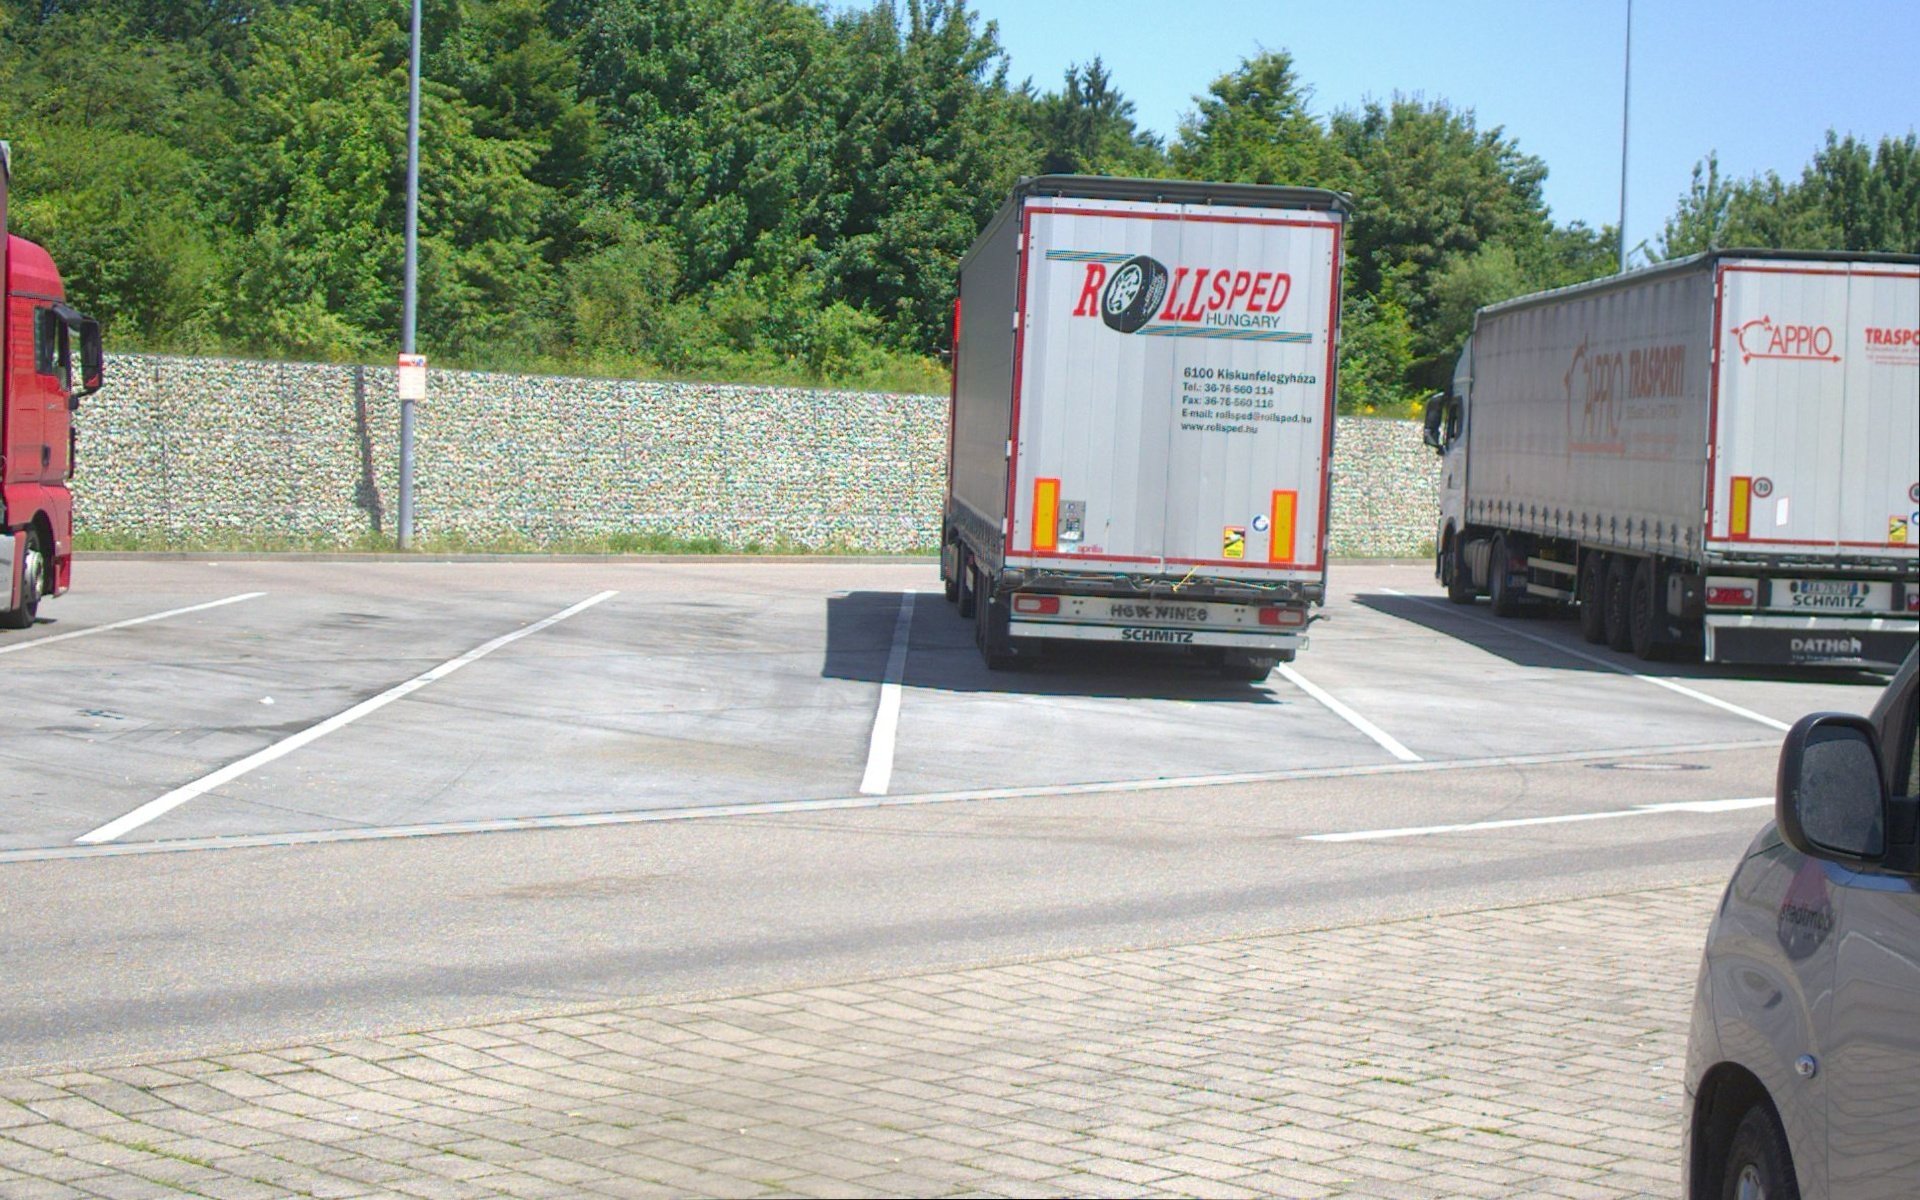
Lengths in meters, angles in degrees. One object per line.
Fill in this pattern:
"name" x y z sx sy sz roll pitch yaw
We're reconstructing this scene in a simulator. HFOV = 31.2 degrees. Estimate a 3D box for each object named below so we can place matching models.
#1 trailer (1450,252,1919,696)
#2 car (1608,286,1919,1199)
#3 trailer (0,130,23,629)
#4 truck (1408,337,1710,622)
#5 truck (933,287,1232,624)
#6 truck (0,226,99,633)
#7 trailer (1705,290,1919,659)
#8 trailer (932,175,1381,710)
"trailer" 8.114 -1.518 38.714 2.811 3.976 14.396 2 3 -1
"car" 2.147 0.590 3.833 1.869 1.857 4.177 2 2 -2
"trailer" -9.195 -1.487 21.552 2.791 4.071 14.133 2 3 -1
"truck" 8.022 -1.694 46.814 2.862 3.509 5.900 2 3 -1
"truck" 1.311 -1.732 40.494 3.103 3.554 5.900 2 3 -1
"truck" -9.239 -1.443 28.126 2.851 3.316 5.900 2 3 -1
"trailer" 11.755 -1.450 39.765 2.811 3.976 14.396 2 3 -1
"trailer" 1.447 -1.590 33.602 3.133 3.976 14.397 2 3 -1
